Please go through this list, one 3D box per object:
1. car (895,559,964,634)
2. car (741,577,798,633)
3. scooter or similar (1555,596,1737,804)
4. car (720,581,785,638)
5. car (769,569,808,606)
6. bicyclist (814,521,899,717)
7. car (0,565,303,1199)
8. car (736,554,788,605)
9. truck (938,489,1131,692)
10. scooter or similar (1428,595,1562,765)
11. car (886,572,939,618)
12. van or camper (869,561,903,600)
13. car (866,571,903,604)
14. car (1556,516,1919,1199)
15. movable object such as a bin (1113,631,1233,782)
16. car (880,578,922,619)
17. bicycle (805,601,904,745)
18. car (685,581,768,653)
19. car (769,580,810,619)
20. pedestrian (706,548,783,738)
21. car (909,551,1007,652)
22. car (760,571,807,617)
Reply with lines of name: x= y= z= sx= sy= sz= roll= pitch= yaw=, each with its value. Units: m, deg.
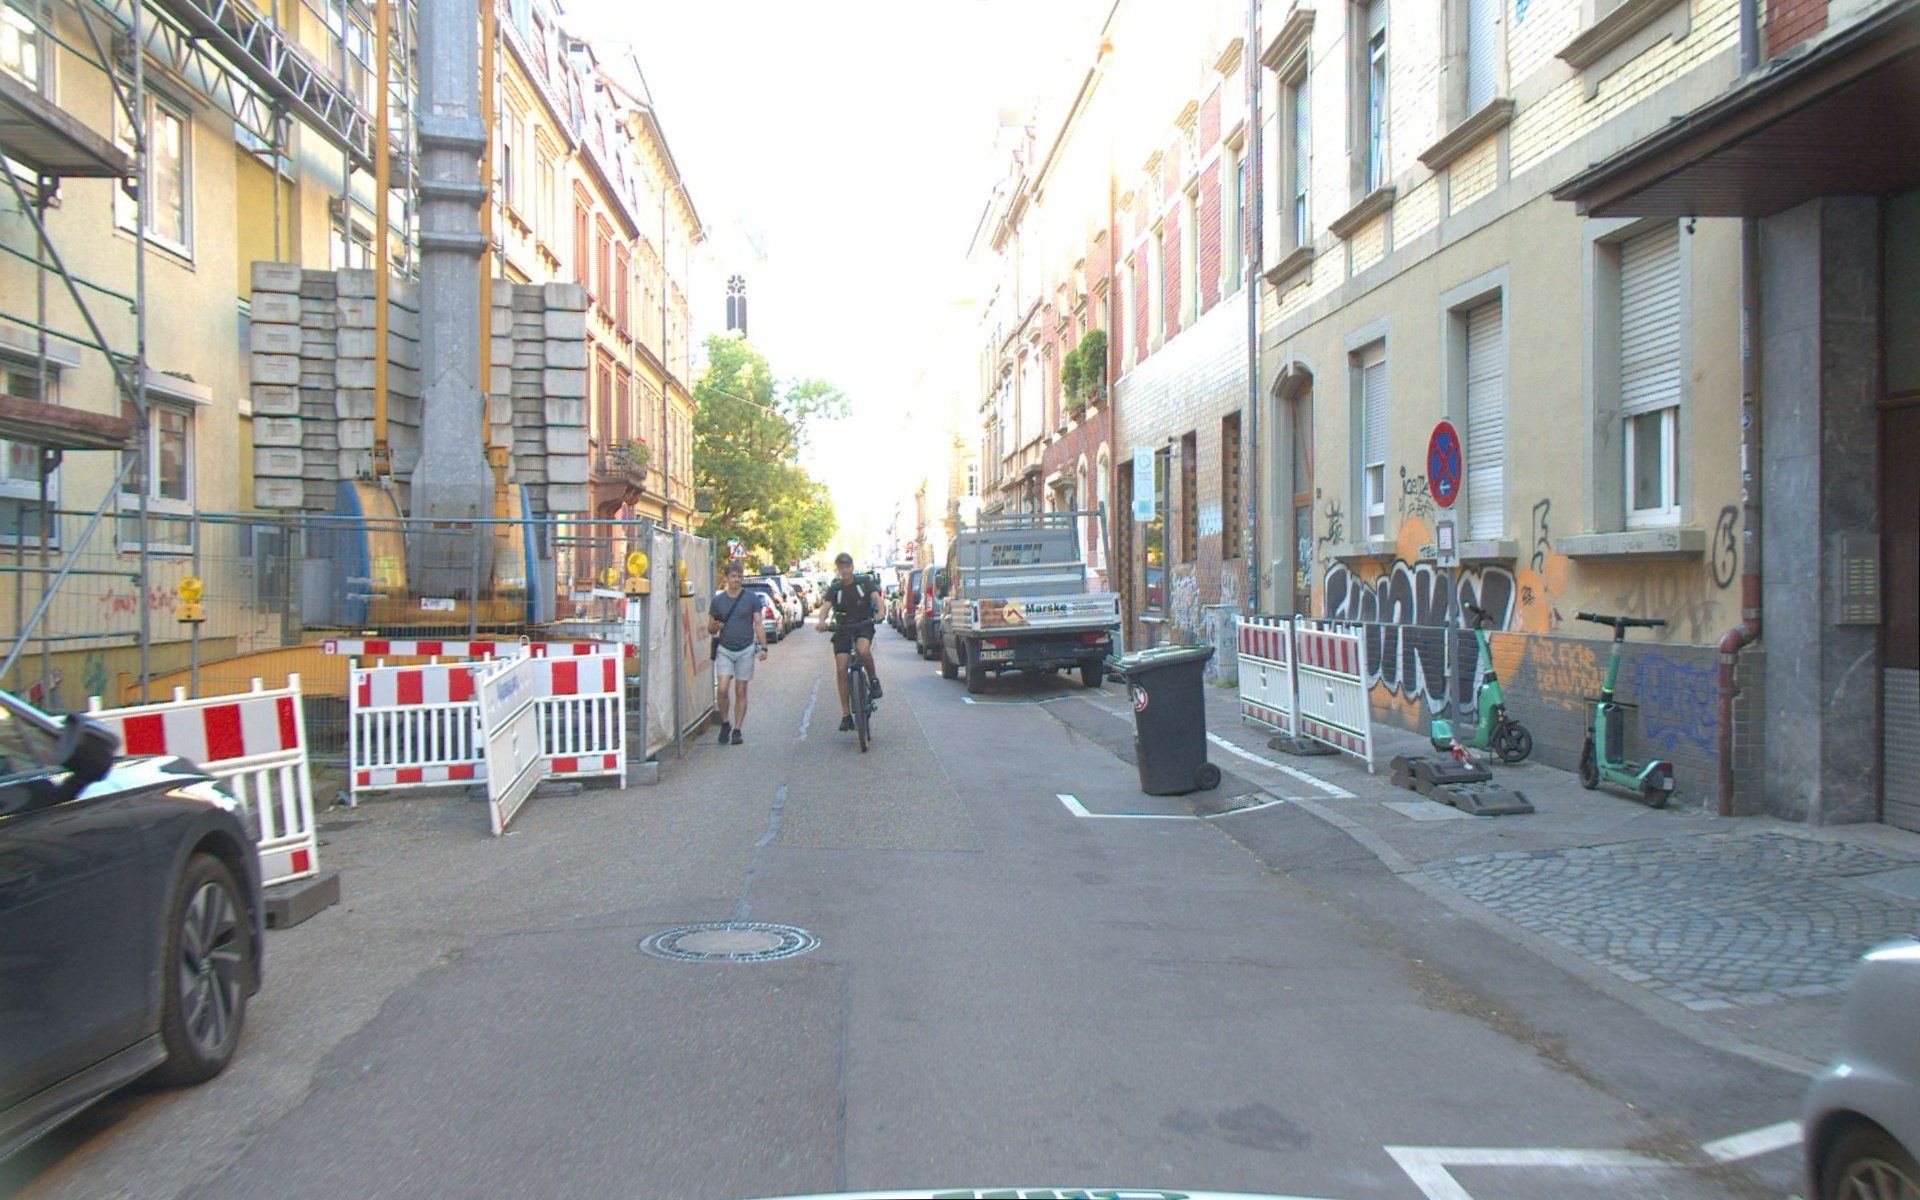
car: x=-0.926 y=-0.115 z=48.017 sx=1.642 sy=2.066 sz=3.864 roll=-1 pitch=0 yaw=-6
car: x=-5.758 y=0.122 z=50.170 sx=1.642 sy=1.598 sz=3.864 roll=-1 pitch=0 yaw=-6
scooter or similar: x=4.342 y=0.590 z=10.569 sx=0.409 sy=1.199 sz=1.494 roll=-3 pitch=1 yaw=-4
car: x=-5.645 y=0.237 z=45.264 sx=1.642 sy=1.470 sz=3.864 roll=-1 pitch=0 yaw=-6
car: x=-9.161 y=-0.680 z=88.715 sx=1.955 sy=1.881 sz=3.996 roll=-2 pitch=1 yaw=-5
bicyclist: x=-0.962 y=0.167 z=15.554 sx=0.715 sy=1.792 sz=0.835 roll=0 pitch=1 yaw=2
car: x=-2.999 y=0.694 z=3.481 sx=1.642 sy=1.503 sz=4.604 roll=-1 pitch=1 yaw=-4
car: x=-6.586 y=-0.673 z=55.384 sx=1.642 sy=1.598 sz=3.864 roll=-1 pitch=0 yaw=-6
truck: x=0.971 y=-0.161 z=24.732 sx=2.147 sy=2.652 sz=5.229 roll=-2 pitch=1 yaw=-5
scooter or similar: x=4.095 y=0.579 z=12.755 sx=0.409 sy=1.199 sz=1.494 roll=-3 pitch=1 yaw=-4
car: x=-1.775 y=-0.183 z=61.085 sx=1.642 sy=1.598 sz=3.864 roll=-1 pitch=0 yaw=-6
van or camper: x=-5.126 y=-1.329 z=114.007 sx=1.956 sy=2.552 sz=4.195 roll=-2 pitch=1 yaw=-8
car: x=-4.520 y=-0.742 z=98.428 sx=1.955 sy=1.881 sz=3.996 roll=-2 pitch=1 yaw=-5
car: x=2.541 y=0.627 z=2.783 sx=1.565 sy=1.587 sz=3.812 roll=-1 pitch=1 yaw=-2
movable object such as a bin: x=1.599 y=0.790 z=12.500 sx=0.779 sy=1.074 sz=0.659 roll=-1 pitch=1 yaw=-4
car: x=-3.082 y=-0.106 z=85.474 sx=1.955 sy=2.049 sz=3.996 roll=-1 pitch=1 yaw=-5
bicycle: x=-0.964 y=0.643 z=15.607 sx=0.709 sy=1.207 sz=2.043 roll=0 pitch=1 yaw=3
car: x=-5.097 y=0.347 z=36.471 sx=1.642 sy=1.470 sz=3.864 roll=-1 pitch=0 yaw=-6
car: x=-8.588 y=-0.067 z=83.540 sx=1.955 sy=1.881 sz=3.996 roll=-1 pitch=1 yaw=-5
pedestrian: x=-2.056 y=0.395 z=15.850 sx=0.644 sy=1.763 sz=0.719 roll=-1 pitch=0 yaw=-4
car: x=-0.100 y=0.010 z=35.175 sx=1.642 sy=1.997 sz=4.104 roll=-1 pitch=0 yaw=-6
car: x=-6.459 y=-0.222 z=60.598 sx=1.642 sy=1.598 sz=3.864 roll=-1 pitch=0 yaw=-6
